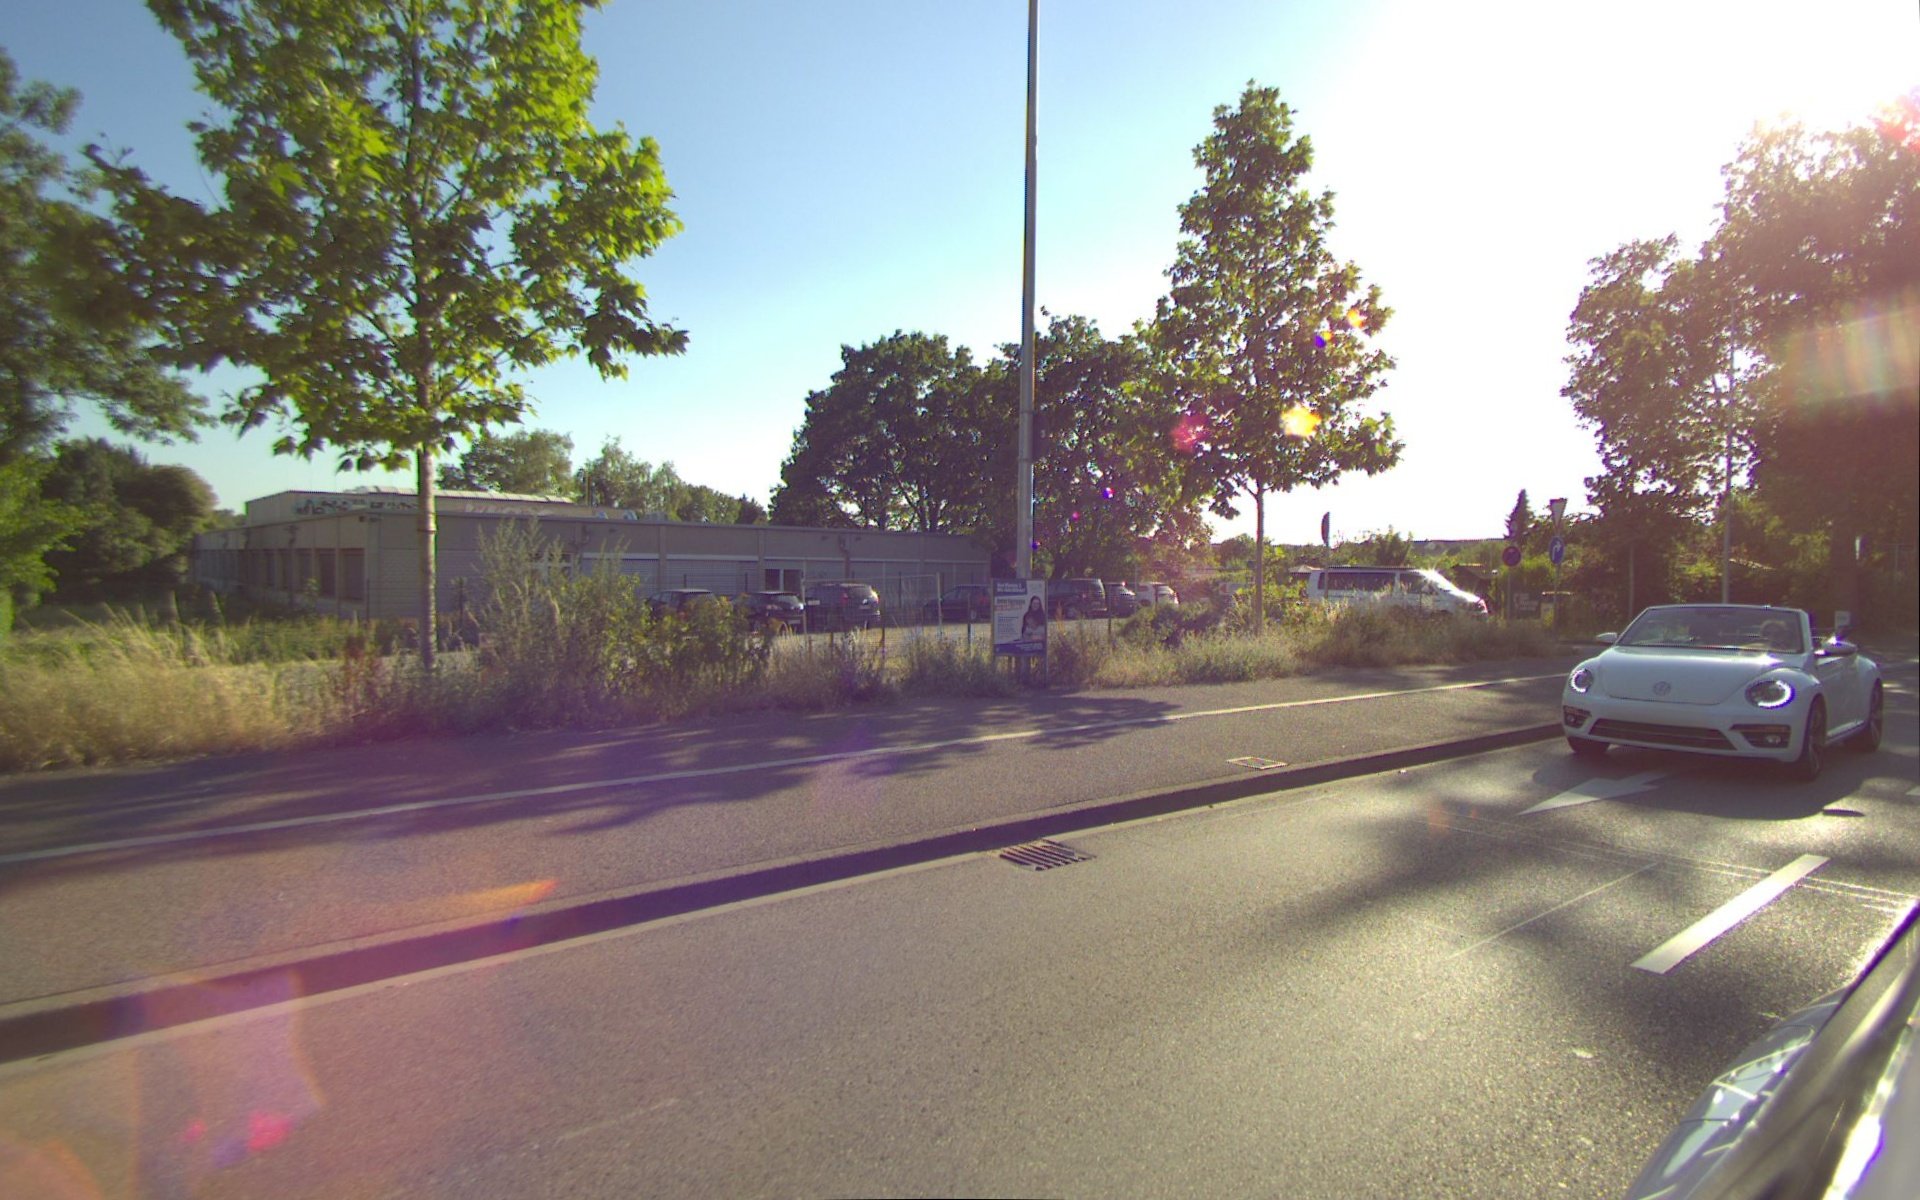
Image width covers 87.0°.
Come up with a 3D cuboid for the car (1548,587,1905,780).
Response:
[{"bbox_3d":[7.376,0.616,9.616,3.909,1.441,1.856,0,1,-40],"label":"car"}]

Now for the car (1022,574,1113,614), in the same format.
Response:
[{"bbox_3d":[4.690,-0.254,44.464,1.637,1.661,3.867,0,0,-43],"label":"car"}]

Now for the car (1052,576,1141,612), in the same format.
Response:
[{"bbox_3d":[6.232,-0.251,46.360,1.694,1.606,3.831,0,0,-43],"label":"car"}]

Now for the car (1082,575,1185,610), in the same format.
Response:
[{"bbox_3d":[8.205,-0.316,48.240,1.829,1.589,4.650,0,0,-45],"label":"car"}]

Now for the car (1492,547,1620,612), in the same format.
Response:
[{"bbox_3d":[25.970,-0.881,44.013,5.816,2.654,2.940,0,2,-39],"label":"car"}]

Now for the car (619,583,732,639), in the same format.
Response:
[{"bbox_3d":[-8.978,0.300,31.766,3.782,1.575,1.702,1,4,44],"label":"car"}]

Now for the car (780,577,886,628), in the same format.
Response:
[{"bbox_3d":[-4.515,0.076,35.618,1.679,1.687,3.910,-2,1,-45],"label":"car"}]

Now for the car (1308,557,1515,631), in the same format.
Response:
[{"bbox_3d":[13.526,-0.155,30.572,2.069,2.048,5.339,0,0,-44],"label":"car"}]

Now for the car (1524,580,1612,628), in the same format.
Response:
[{"bbox_3d":[23.085,0.104,38.368,1.994,1.667,4.090,2,2,44],"label":"car"}]

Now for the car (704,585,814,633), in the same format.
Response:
[{"bbox_3d":[-6.760,0.249,33.836,3.782,1.413,1.713,1,4,44],"label":"car"}]

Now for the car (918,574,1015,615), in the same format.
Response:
[{"bbox_3d":[0.235,-0.190,41.685,4.020,1.606,1.658,0,0,45],"label":"car"}]
